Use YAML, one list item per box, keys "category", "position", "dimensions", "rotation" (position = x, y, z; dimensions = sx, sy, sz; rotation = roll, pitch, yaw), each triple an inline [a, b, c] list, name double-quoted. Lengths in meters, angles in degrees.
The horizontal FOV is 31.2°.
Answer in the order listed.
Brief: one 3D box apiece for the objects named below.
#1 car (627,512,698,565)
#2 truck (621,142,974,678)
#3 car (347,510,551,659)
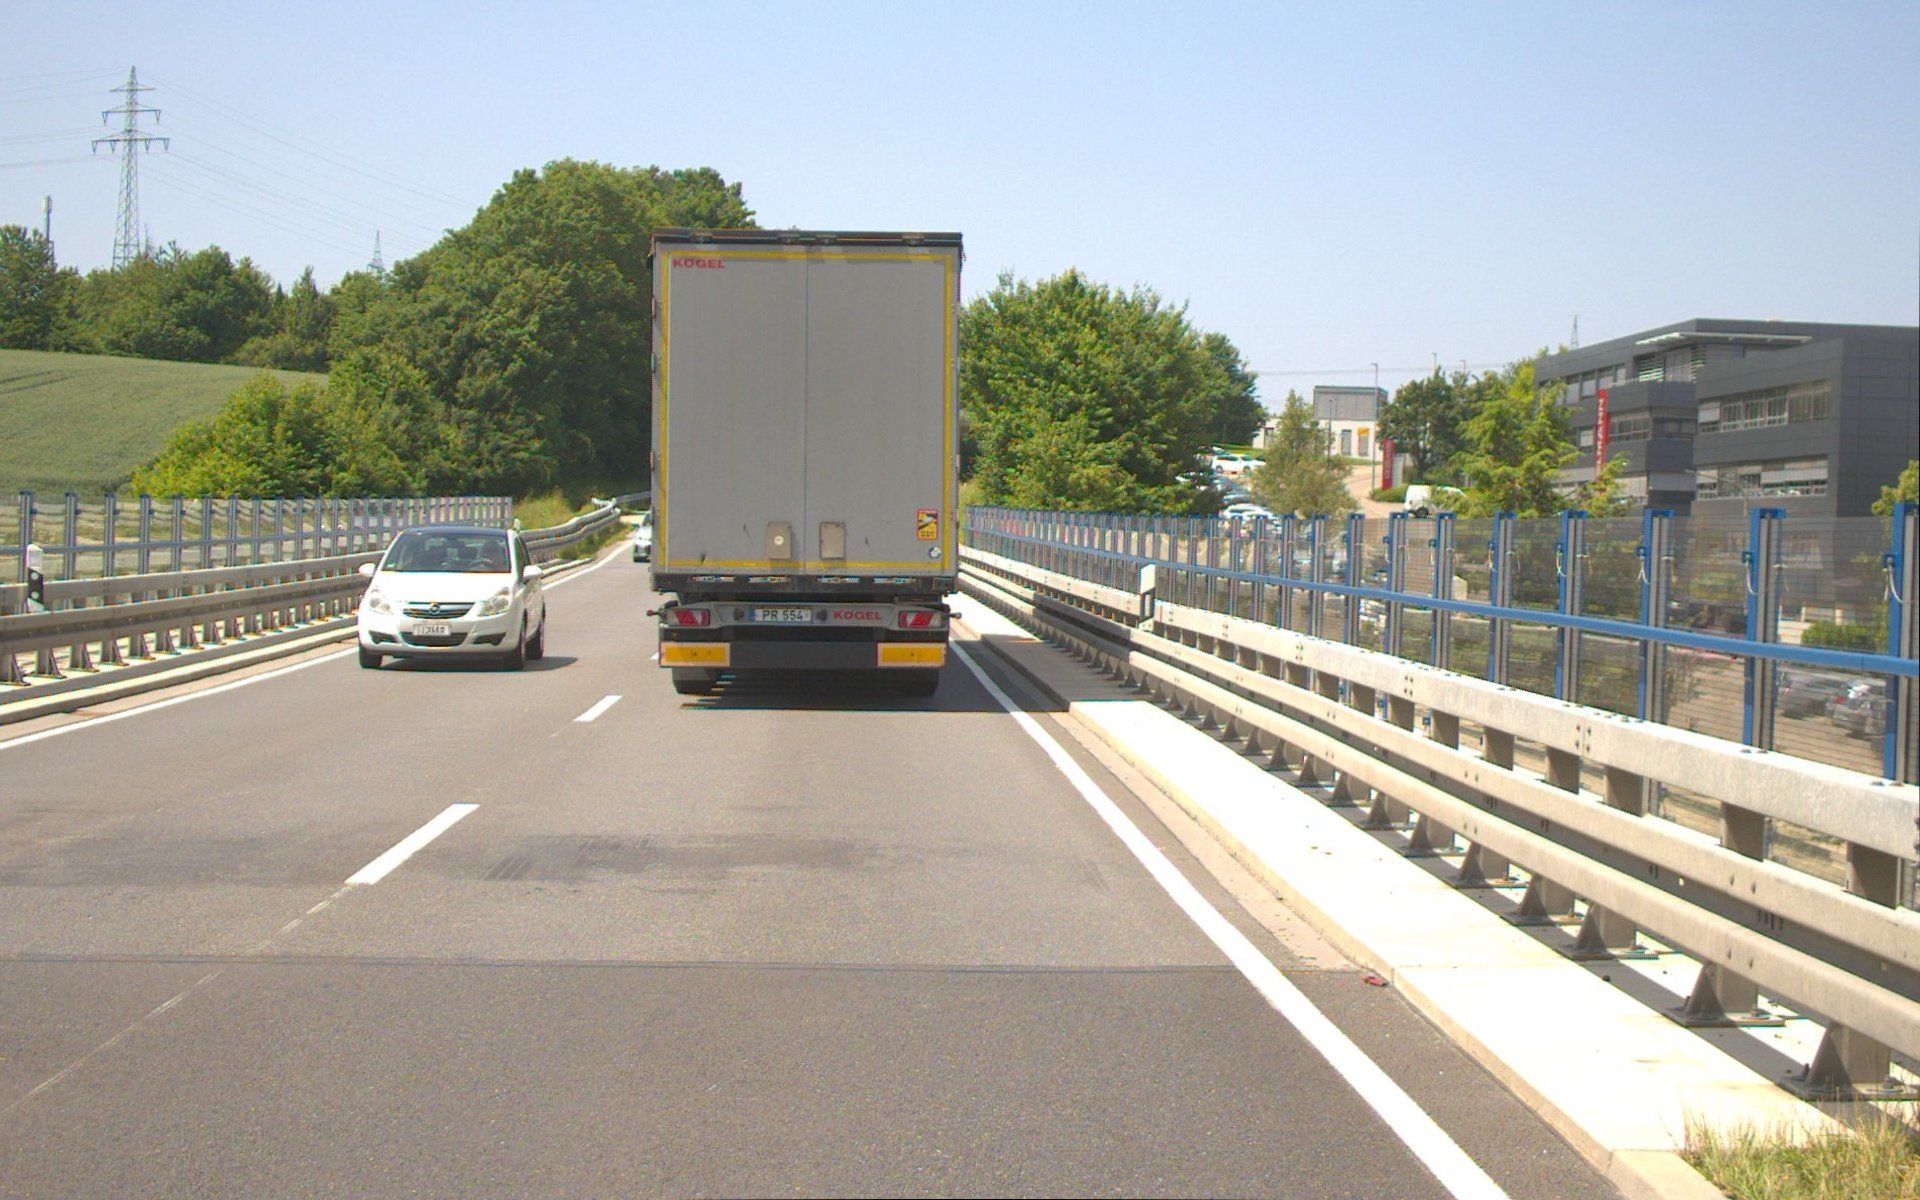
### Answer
- category: "car"
  position: [-8.169, -1.706, 94.784]
  dimensions: [1.781, 1.431, 4.835]
  rotation: [0, 1, -3]
- category: "truck"
  position: [-1.553, -1.573, 32.856]
  dimensions: [2.866, 4.344, 9.790]
  rotation: [0, 0, -3]
- category: "car"
  position: [-5.384, -0.185, 36.644]
  dimensions: [1.707, 1.500, 4.119]
  rotation: [0, 1, -2]
